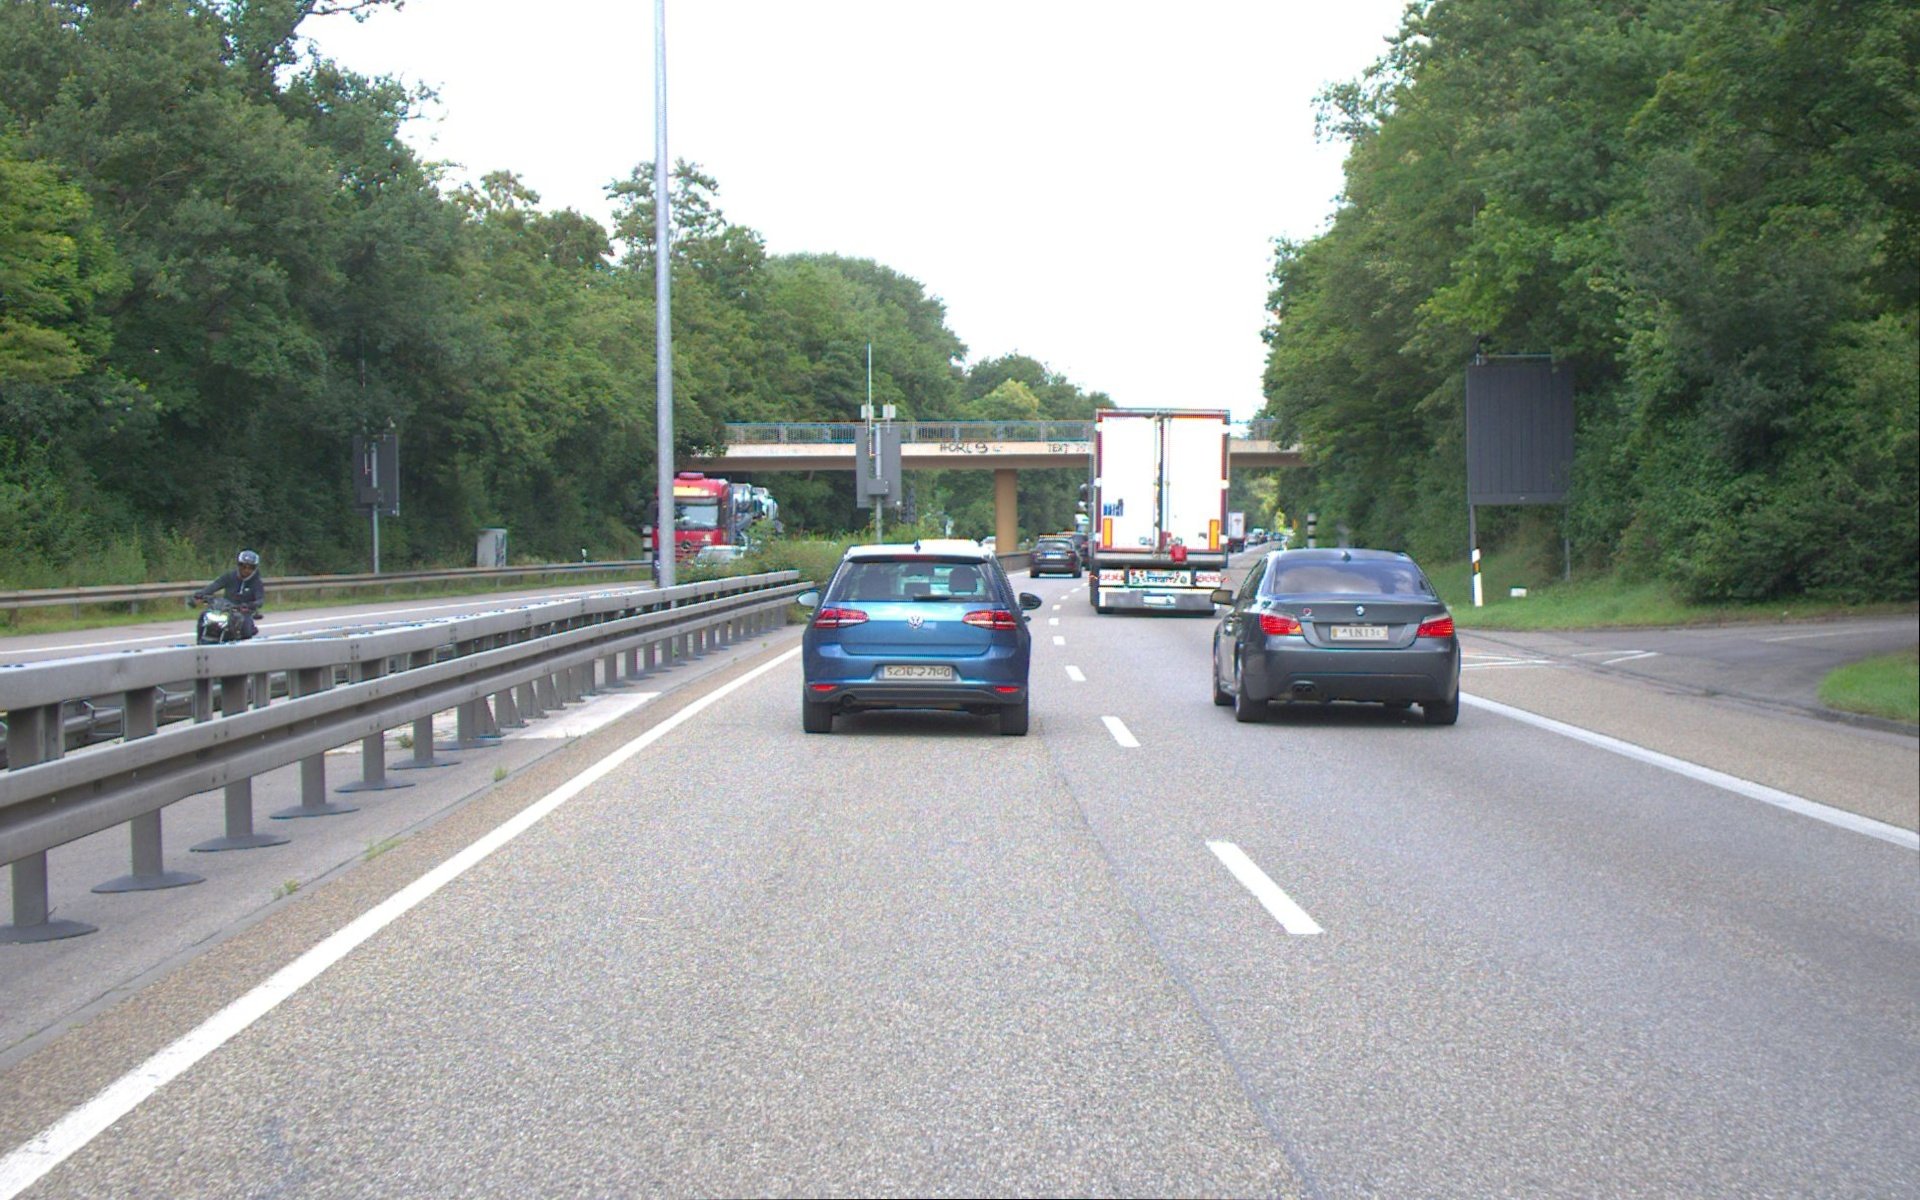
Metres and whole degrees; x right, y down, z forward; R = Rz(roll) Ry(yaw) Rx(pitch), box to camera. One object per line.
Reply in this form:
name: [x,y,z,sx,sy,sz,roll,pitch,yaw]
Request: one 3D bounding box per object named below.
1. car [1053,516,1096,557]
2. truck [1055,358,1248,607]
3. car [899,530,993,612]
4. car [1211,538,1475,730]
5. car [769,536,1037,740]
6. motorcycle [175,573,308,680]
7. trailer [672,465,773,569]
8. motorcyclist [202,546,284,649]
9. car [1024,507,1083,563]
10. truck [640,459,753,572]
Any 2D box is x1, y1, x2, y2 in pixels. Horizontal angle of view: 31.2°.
car: [5.102,-2.838,152.817,1.766,1.766,4.023,0,1,4]
truck: [3.793,-2.360,70.855,3.242,4.700,11.007,-1,1,0]
car: [-0.243,-0.581,65.977,1.665,1.495,4.152,1,1,1]
car: [3.212,0.225,29.700,1.774,1.470,4.880,1,1,1]
car: [-0.379,0.241,27.410,1.705,1.465,3.999,1,1,5]
motorcycle: [-8.702,0.296,41.763,0.999,1.197,2.998,-1,1,-1]
trailer: [-9.159,-3.197,133.723,2.938,3.820,10.310,-1,1,1]
motorcyclist: [-8.654,-0.037,41.503,0.825,1.222,0.720,-1,1,-1]
car: [3.474,-2.412,127.152,1.954,2.007,4.000,-1,1,4]
truck: [-9.379,-3.019,123.445,2.955,3.842,10.324,-1,1,1]
